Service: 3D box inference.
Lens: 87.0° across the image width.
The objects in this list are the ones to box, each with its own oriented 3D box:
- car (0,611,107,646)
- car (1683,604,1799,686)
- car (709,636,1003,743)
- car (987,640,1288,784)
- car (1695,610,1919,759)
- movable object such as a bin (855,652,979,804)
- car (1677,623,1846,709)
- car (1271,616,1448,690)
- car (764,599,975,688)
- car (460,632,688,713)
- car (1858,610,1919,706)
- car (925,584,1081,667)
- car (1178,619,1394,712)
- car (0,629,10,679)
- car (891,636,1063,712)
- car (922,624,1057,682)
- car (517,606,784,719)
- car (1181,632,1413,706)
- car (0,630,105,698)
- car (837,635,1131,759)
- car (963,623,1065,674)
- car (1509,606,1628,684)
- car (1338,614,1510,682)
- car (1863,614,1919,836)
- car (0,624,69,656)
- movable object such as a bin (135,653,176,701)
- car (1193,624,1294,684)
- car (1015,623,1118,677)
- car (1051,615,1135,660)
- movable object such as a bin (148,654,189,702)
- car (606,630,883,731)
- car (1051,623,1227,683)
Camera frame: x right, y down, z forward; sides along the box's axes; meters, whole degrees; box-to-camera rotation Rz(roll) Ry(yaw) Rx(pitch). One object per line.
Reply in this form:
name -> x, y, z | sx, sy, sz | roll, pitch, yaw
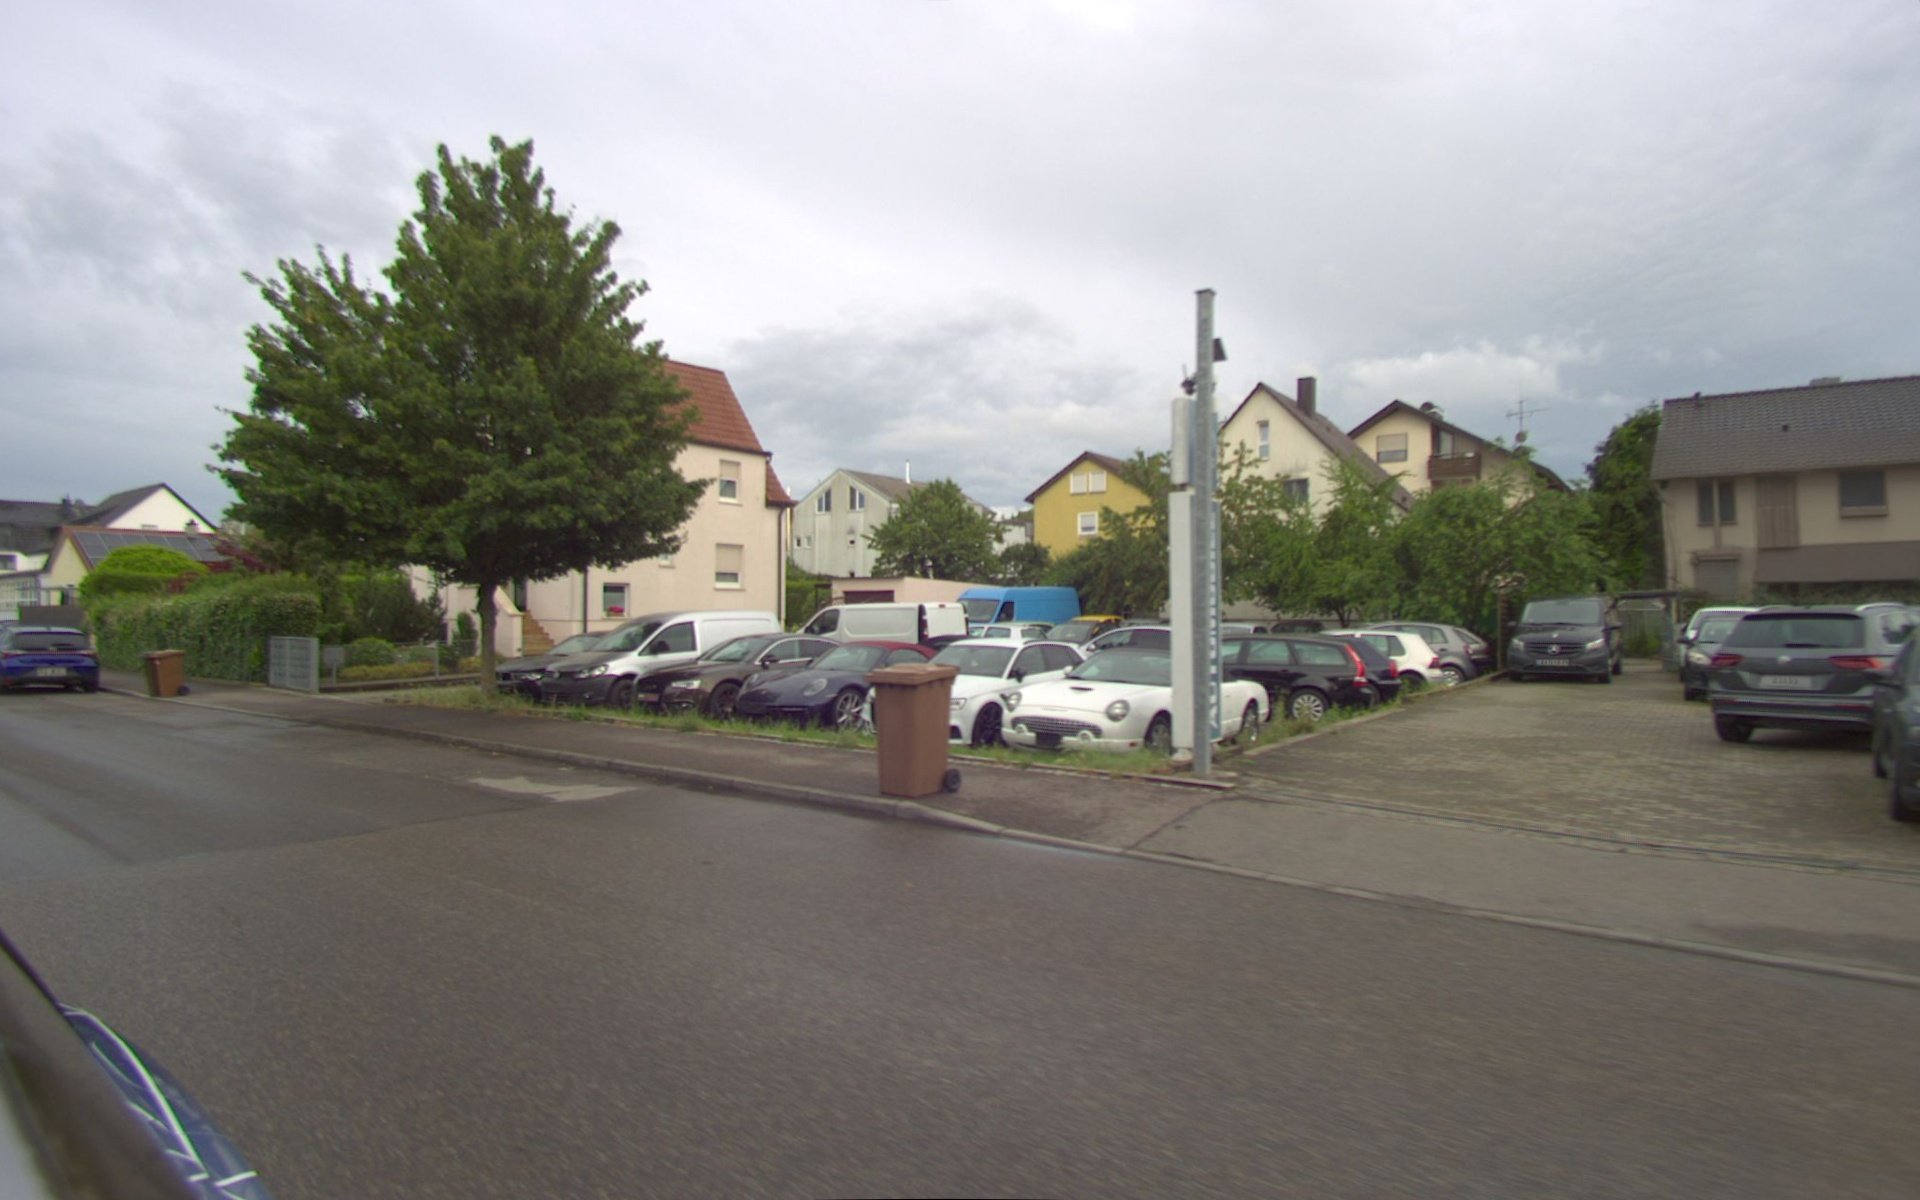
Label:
car -> -39.349, 1.211, 43.322 | 1.710, 1.424, 4.049 | -2, -1, 35
car -> 16.671, 0.915, 21.584 | 1.786, 1.583, 3.697 | -2, -2, 39
car -> -1.412, 1.237, 15.425 | 1.886, 1.319, 4.514 | -1, -2, 38
car -> 2.330, 1.197, 12.303 | 1.768, 1.342, 4.409 | -1, -2, 38
car -> 10.877, 0.891, 12.222 | 3.932, 1.511, 1.943 | 0, -2, -33
movable object such as a bin -> -0.354, 1.017, 8.347 | 0.734, 1.138, 0.701 | -2, -1, 38
car -> 13.797, 1.047, 17.345 | 2.000, 1.282, 3.694 | -2, -2, 42
car -> 8.022, 1.048, 20.576 | 3.206, 1.426, 1.330 | -1, -2, 18
car -> -2.248, 1.026, 24.442 | 5.043, 1.945, 1.976 | -2, -3, 36
car -> -7.397, 1.322, 19.720 | 1.757, 1.383, 3.879 | -1, -2, 34
car -> 16.180, 0.888, 16.517 | 1.783, 1.449, 3.703 | -1, -2, 34
car -> 1.476, 0.758, 31.850 | 2.044, 2.392, 5.616 | -1, -1, 38
car -> 5.218, 1.030, 16.480 | 3.203, 1.426, 1.331 | -1, -2, 15
car -> -29.211, 1.562, 29.597 | 3.592, 1.414, 1.531 | -2, -3, 38
car -> 0.356, 1.436, 20.149 | 3.203, 1.426, 1.331 | -1, -2, 15
car -> 0.689, 1.279, 24.917 | 3.109, 1.343, 1.372 | -1, -2, 36
car -> -5.490, 1.055, 18.532 | 1.893, 1.804, 4.520 | -1, -2, 34
car -> 6.358, 1.248, 19.153 | 3.979, 1.267, 1.606 | -1, -2, 27
car -> -21.031, 1.399, 22.912 | 3.939, 1.414, 1.789 | -2, -3, 38
car -> 0.495, 1.192, 13.970 | 1.886, 1.384, 4.335 | -1, -2, 38
car -> 1.547, 1.312, 28.127 | 1.335, 1.343, 3.194 | -1, -2, 36
car -> 13.612, 0.949, 22.549 | 1.896, 1.567, 3.951 | -1, -2, 36
car -> 10.072, 1.040, 22.172 | 3.203, 1.426, 1.331 | -1, -2, 15
car -> 8.363, 0.843, 7.797 | 1.837, 1.475, 3.948 | -2, -2, 39
car -> -45.934, 1.920, 48.877 | 1.878, 1.525, 4.050 | -2, -2, 34
movable object such as a bin -> -16.545, 1.572, 20.813 | 0.505, 0.917, 0.535 | -1, 1, 37
car -> 6.937, 1.259, 24.611 | 1.335, 1.343, 3.194 | -1, -2, 36
car -> 2.886, 1.284, 26.996 | 1.335, 1.343, 3.194 | -1, -2, 36
car -> 4.285, 1.178, 32.303 | 1.335, 1.343, 3.194 | -1, -2, 36
movable object such as a bin -> -16.119, 1.572, 20.609 | 0.424, 0.917, 0.535 | -1, 1, 37
car -> -3.419, 1.226, 16.940 | 1.893, 1.429, 4.520 | -1, -2, 34
car -> 3.993, 1.149, 22.680 | 3.521, 1.245, 1.646 | -1, -1, 32
